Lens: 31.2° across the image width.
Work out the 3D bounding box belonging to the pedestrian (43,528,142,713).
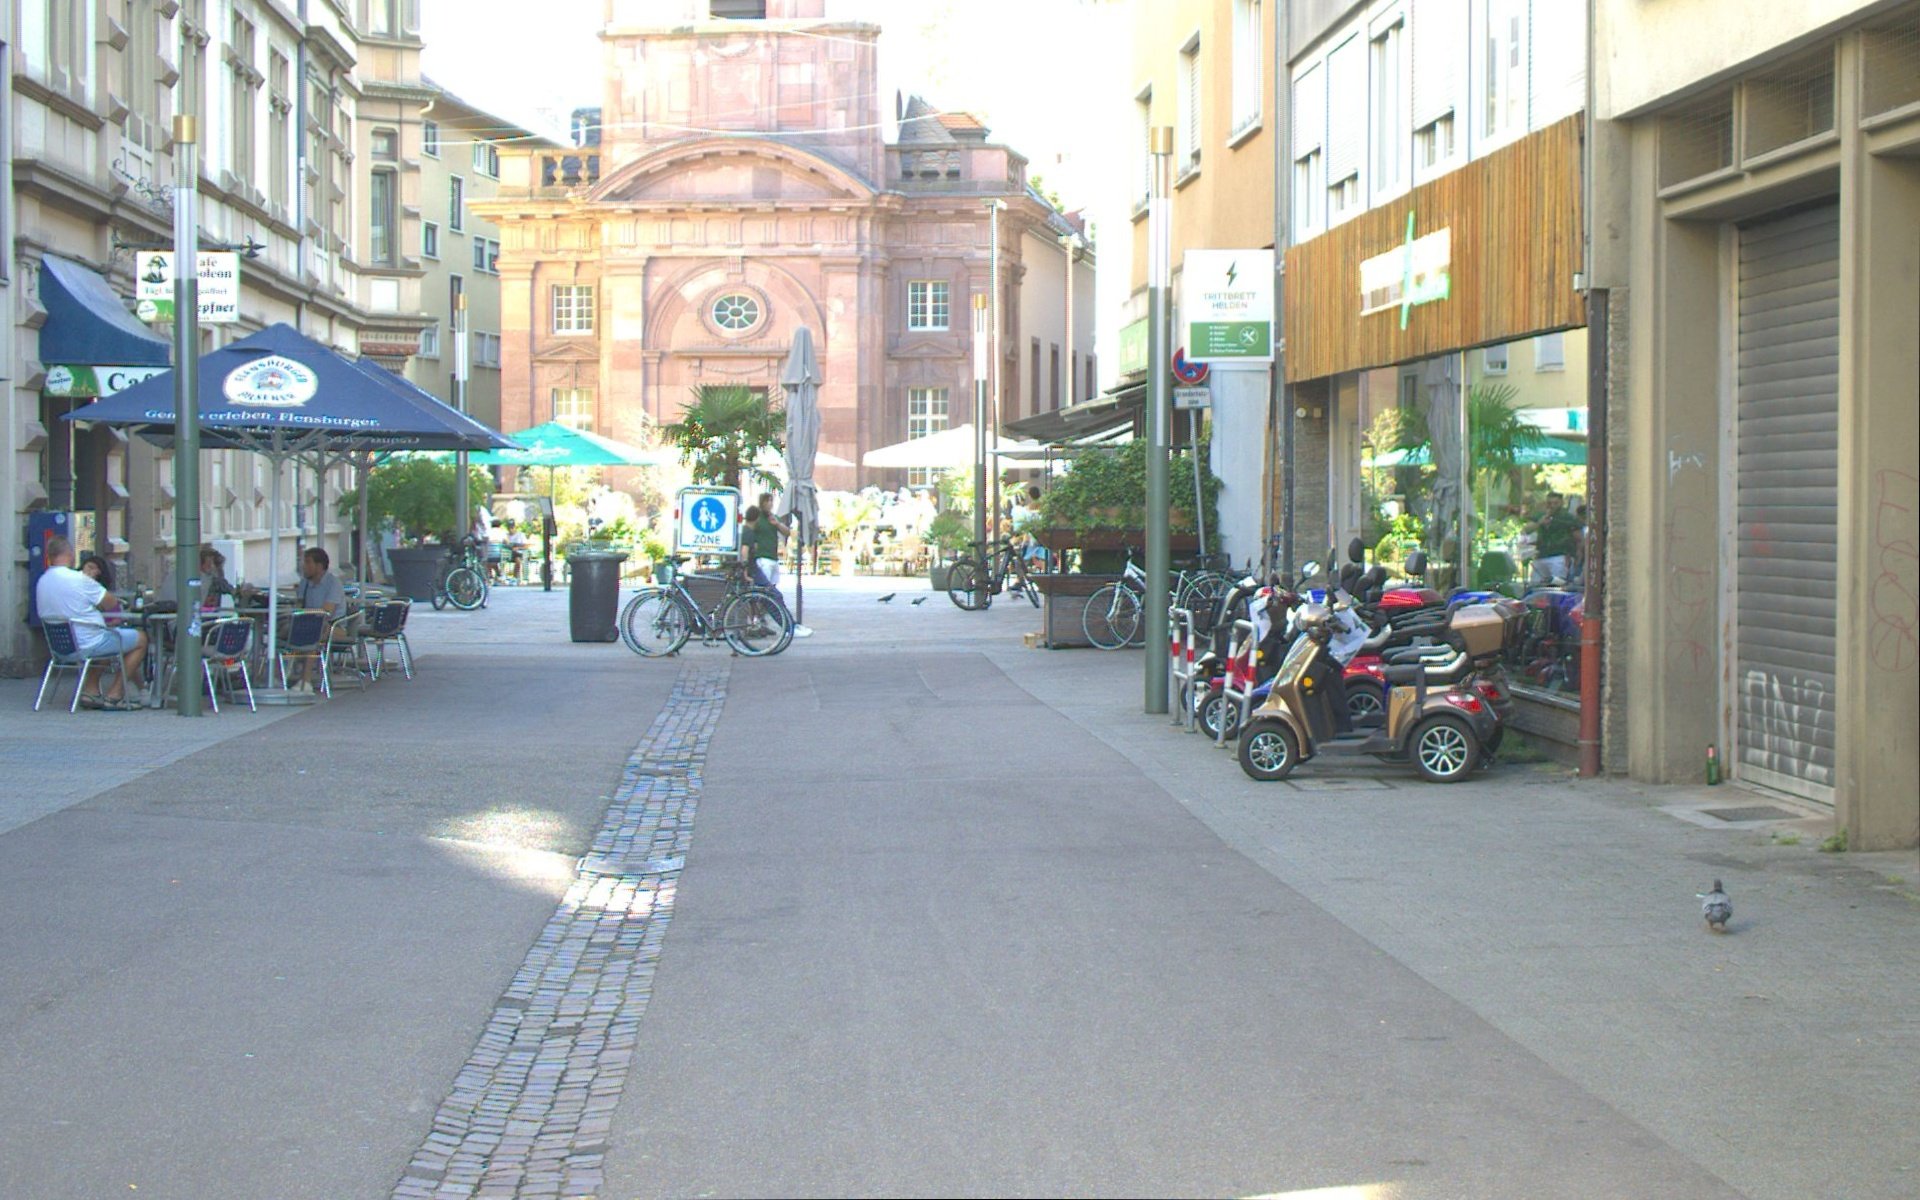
[{"bbox_3d":[-6.562,0.144,25.986,0.707,1.363,0.720,0,2,-15],"label":"pedestrian"}]

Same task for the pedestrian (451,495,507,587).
[{"bbox_3d":[-8.151,-1.005,58.235,0.784,1.550,0.534,1,2,20],"label":"pedestrian"}]

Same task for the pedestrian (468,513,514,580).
[{"bbox_3d":[-8.553,-0.973,62.702,0.700,1.213,0.719,0,1,3],"label":"pedestrian"}]

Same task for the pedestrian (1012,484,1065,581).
[{"bbox_3d":[1.328,-1.144,58.370,0.611,1.635,0.657,-1,2,-44],"label":"pedestrian"}]

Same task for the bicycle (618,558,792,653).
[{"bbox_3d":[-2.713,0.056,36.548,1.823,1.001,0.381,0,1,-6],"label":"bicycle"}]

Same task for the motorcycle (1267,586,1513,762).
[{"bbox_3d":[2.690,0.452,21.507,1.485,1.072,0.412,0,1,15],"label":"motorcycle"}]

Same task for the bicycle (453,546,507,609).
[{"bbox_3d":[-6.809,-0.334,48.788,0.456,0.847,2.146,0,2,0],"label":"bicycle"}]

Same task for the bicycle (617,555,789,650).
[{"bbox_3d":[-2.765,0.025,36.952,1.823,1.001,0.381,0,1,-6],"label":"bicycle"}]

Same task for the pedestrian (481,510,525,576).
[{"bbox_3d":[-8.526,-1.073,64.135,0.700,1.213,0.719,0,1,3],"label":"pedestrian"}]

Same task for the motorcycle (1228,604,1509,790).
[{"bbox_3d":[2.350,0.548,19.769,1.565,1.038,0.372,0,1,15],"label":"motorcycle"}]

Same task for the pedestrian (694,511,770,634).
[{"bbox_3d":[-2.720,-0.336,41.046,0.883,1.459,0.731,0,1,-2],"label":"pedestrian"}]

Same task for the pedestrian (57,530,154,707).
[{"bbox_3d":[-6.713,0.134,26.999,0.717,1.363,0.710,0,2,-15],"label":"pedestrian"}]

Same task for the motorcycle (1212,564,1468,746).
[{"bbox_3d":[2.514,0.355,22.749,1.626,1.171,0.480,0,1,15],"label":"motorcycle"}]

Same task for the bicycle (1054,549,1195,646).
[{"bbox_3d":[1.744,-0.035,36.366,1.463,1.001,0.573,0,1,4],"label":"bicycle"}]

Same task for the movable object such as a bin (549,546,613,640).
[{"bbox_3d":[-4.381,-0.083,39.713,0.721,1.071,0.374,0,1,-4],"label":"movable object such as a bin"}]

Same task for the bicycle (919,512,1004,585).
[{"bbox_3d":[0.034,-0.936,62.420,1.586,1.303,0.366,-1,2,-32],"label":"bicycle"}]

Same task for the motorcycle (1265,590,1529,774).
[{"bbox_3d":[2.611,0.482,20.546,1.517,1.072,0.412,0,1,15],"label":"motorcycle"}]

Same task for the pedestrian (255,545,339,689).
[{"bbox_3d":[-5.673,0.136,29.425,0.692,1.211,0.583,0,2,-11],"label":"pedestrian"}]

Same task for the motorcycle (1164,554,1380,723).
[{"bbox_3d":[2.220,0.269,24.438,1.484,1.177,0.412,0,1,12],"label":"motorcycle"}]

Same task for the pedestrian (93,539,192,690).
[{"bbox_3d":[-6.811,0.114,28.660,0.764,1.229,0.831,0,2,-11],"label":"pedestrian"}]

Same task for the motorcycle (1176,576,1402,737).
[{"bbox_3d":[2.244,0.381,23.456,1.485,1.072,0.412,0,1,15],"label":"motorcycle"}]

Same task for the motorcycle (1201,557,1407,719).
[{"bbox_3d":[2.554,0.276,25.494,1.484,1.177,0.412,0,1,12],"label":"motorcycle"}]
